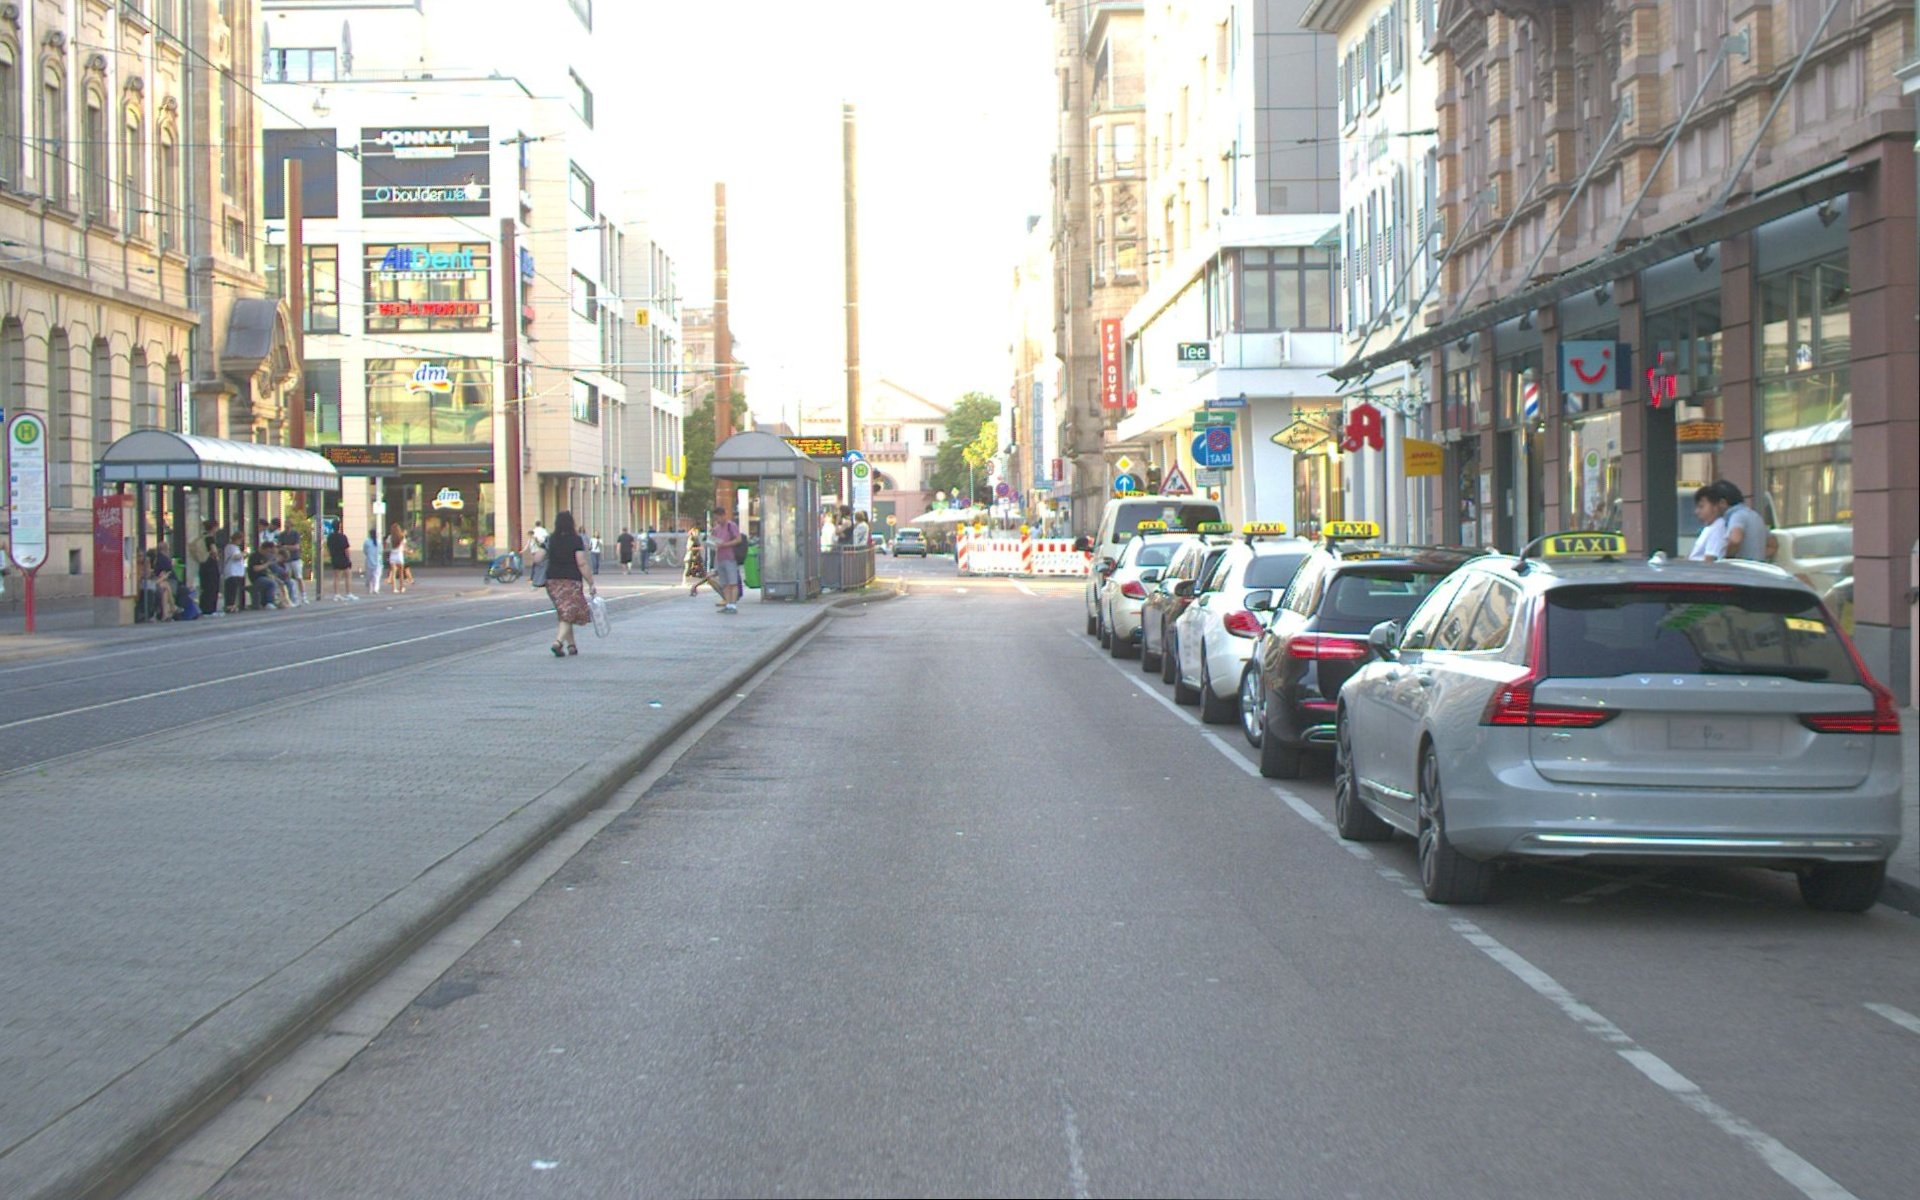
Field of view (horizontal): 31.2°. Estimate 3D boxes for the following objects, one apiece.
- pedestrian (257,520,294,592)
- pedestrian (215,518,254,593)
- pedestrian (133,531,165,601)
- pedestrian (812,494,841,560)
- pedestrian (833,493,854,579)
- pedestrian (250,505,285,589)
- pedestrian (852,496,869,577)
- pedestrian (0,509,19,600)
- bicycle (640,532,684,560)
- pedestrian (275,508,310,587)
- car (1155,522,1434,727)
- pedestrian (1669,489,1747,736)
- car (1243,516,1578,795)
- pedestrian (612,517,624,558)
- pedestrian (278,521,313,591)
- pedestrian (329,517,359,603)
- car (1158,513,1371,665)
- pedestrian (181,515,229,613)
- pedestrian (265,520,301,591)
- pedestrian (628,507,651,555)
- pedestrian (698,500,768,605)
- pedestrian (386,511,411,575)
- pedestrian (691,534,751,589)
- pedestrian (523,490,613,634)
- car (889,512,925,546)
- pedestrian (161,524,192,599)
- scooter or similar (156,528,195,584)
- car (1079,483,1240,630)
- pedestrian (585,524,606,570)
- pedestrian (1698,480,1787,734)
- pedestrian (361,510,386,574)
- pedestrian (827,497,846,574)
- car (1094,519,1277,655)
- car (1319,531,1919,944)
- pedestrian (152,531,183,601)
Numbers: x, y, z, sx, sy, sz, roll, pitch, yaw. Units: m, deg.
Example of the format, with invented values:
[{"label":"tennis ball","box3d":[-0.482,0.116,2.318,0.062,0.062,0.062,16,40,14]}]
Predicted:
[{"label":"pedestrian","box3d":[-12.628,-0.812,63.419,0.518,1.323,0.638,0,0,3]},{"label":"pedestrian","box3d":[-12.833,-0.785,60.795,0.518,1.323,0.638,0,0,3]},{"label":"pedestrian","box3d":[-12.711,-0.534,53.904,0.364,1.099,0.429,1,1,5]},{"label":"pedestrian","box3d":[-3.700,-2.027,95.403,0.699,1.809,0.852,1,1,5]},{"label":"pedestrian","box3d":[-2.389,-1.310,70.565,0.412,1.761,0.594,1,1,-3]},{"label":"pedestrian","box3d":[-13.566,-1.043,67.348,0.518,1.640,0.638,0,0,3]},{"label":"pedestrian","box3d":[-2.212,-1.409,76.397,0.341,1.789,0.544,1,1,-3]},{"label":"pedestrian","box3d":[-16.455,-0.778,58.850,0.659,1.556,0.680,0,1,-14]},{"label":"bicycle","box3d":[-11.837,-2.150,136.666,1.696,1.118,0.451,1,1,2]},{"label":"pedestrian","box3d":[-13.225,-1.034,68.115,0.518,1.564,0.638,0,0,3]},{"label":"car","box3d":[2.680,0.146,28.557,1.732,1.505,4.865,2,1,-1]},{"label":"pedestrian","box3d":[5.429,0.085,24.957,0.372,1.762,0.456,-2,1,-4]},{"label":"car","box3d":[2.829,0.292,22.425,1.733,1.585,4.441,2,1,2]},{"label":"pedestrian","box3d":[-12.558,-2.295,126.271,0.390,1.510,0.506,-1,1,-2]},{"label":"pedestrian","box3d":[-12.572,-0.837,65.058,0.518,1.323,0.638,0,0,3]},{"label":"pedestrian","box3d":[-12.749,-0.837,71.186,0.559,1.770,0.469,0,1,-4]},{"label":"car","box3d":[3.139,-0.148,36.239,1.726,1.472,4.821,1,1,-1]},{"label":"pedestrian","box3d":[-12.816,-0.610,58.371,0.518,1.645,0.637,0,0,22]},{"label":"pedestrian","box3d":[-12.637,-0.824,64.187,0.518,1.323,0.638,0,0,3]},{"label":"pedestrian","box3d":[-11.793,-2.541,126.474,0.782,1.745,0.600,1,1,-3]},{"label":"pedestrian","box3d":[-3.564,-0.758,54.029,0.687,1.632,0.859,1,2,40]},{"label":"pedestrian","box3d":[-13.436,-1.372,82.249,0.525,1.520,0.503,0,1,-14]},{"label":"pedestrian","box3d":[-4.111,-0.669,59.073,0.799,0.936,0.692,1,1,22]},{"label":"pedestrian","box3d":[-4.114,-0.402,36.125,0.846,1.496,0.901,0,1,-1]},{"label":"car","box3d":[-3.060,-4.063,198.131,1.993,1.897,4.000,1,1,-1]},{"label":"pedestrian","box3d":[-12.611,-0.623,55.334,0.364,1.196,0.429,1,1,5]},{"label":"scooter or similar","box3d":[-16.687,-0.940,73.109,0.487,1.178,1.293,1,1,1]},{"label":"car","box3d":[2.765,-0.621,48.654,1.876,1.917,4.700,2,1,-1]},{"label":"pedestrian","box3d":[-13.382,-1.940,126.099,0.649,1.668,0.530,0,1,8]},{"label":"pedestrian","box3d":[5.537,0.042,24.354,0.372,1.762,0.663,-2,1,-4]},{"label":"pedestrian","box3d":[-13.982,-1.384,81.994,0.518,1.520,0.501,0,1,-17]},{"label":"pedestrian","box3d":[-2.644,-1.371,73.575,0.385,1.636,0.549,1,1,-3]},{"label":"car","box3d":[2.681,-0.205,41.915,1.806,1.478,4.779,2,2,-1]},{"label":"car","box3d":[2.813,0.481,15.502,1.806,1.470,4.694,1,2,-1]},{"label":"pedestrian","box3d":[-12.560,-0.541,54.490,0.364,1.099,0.429,1,1,5]}]
